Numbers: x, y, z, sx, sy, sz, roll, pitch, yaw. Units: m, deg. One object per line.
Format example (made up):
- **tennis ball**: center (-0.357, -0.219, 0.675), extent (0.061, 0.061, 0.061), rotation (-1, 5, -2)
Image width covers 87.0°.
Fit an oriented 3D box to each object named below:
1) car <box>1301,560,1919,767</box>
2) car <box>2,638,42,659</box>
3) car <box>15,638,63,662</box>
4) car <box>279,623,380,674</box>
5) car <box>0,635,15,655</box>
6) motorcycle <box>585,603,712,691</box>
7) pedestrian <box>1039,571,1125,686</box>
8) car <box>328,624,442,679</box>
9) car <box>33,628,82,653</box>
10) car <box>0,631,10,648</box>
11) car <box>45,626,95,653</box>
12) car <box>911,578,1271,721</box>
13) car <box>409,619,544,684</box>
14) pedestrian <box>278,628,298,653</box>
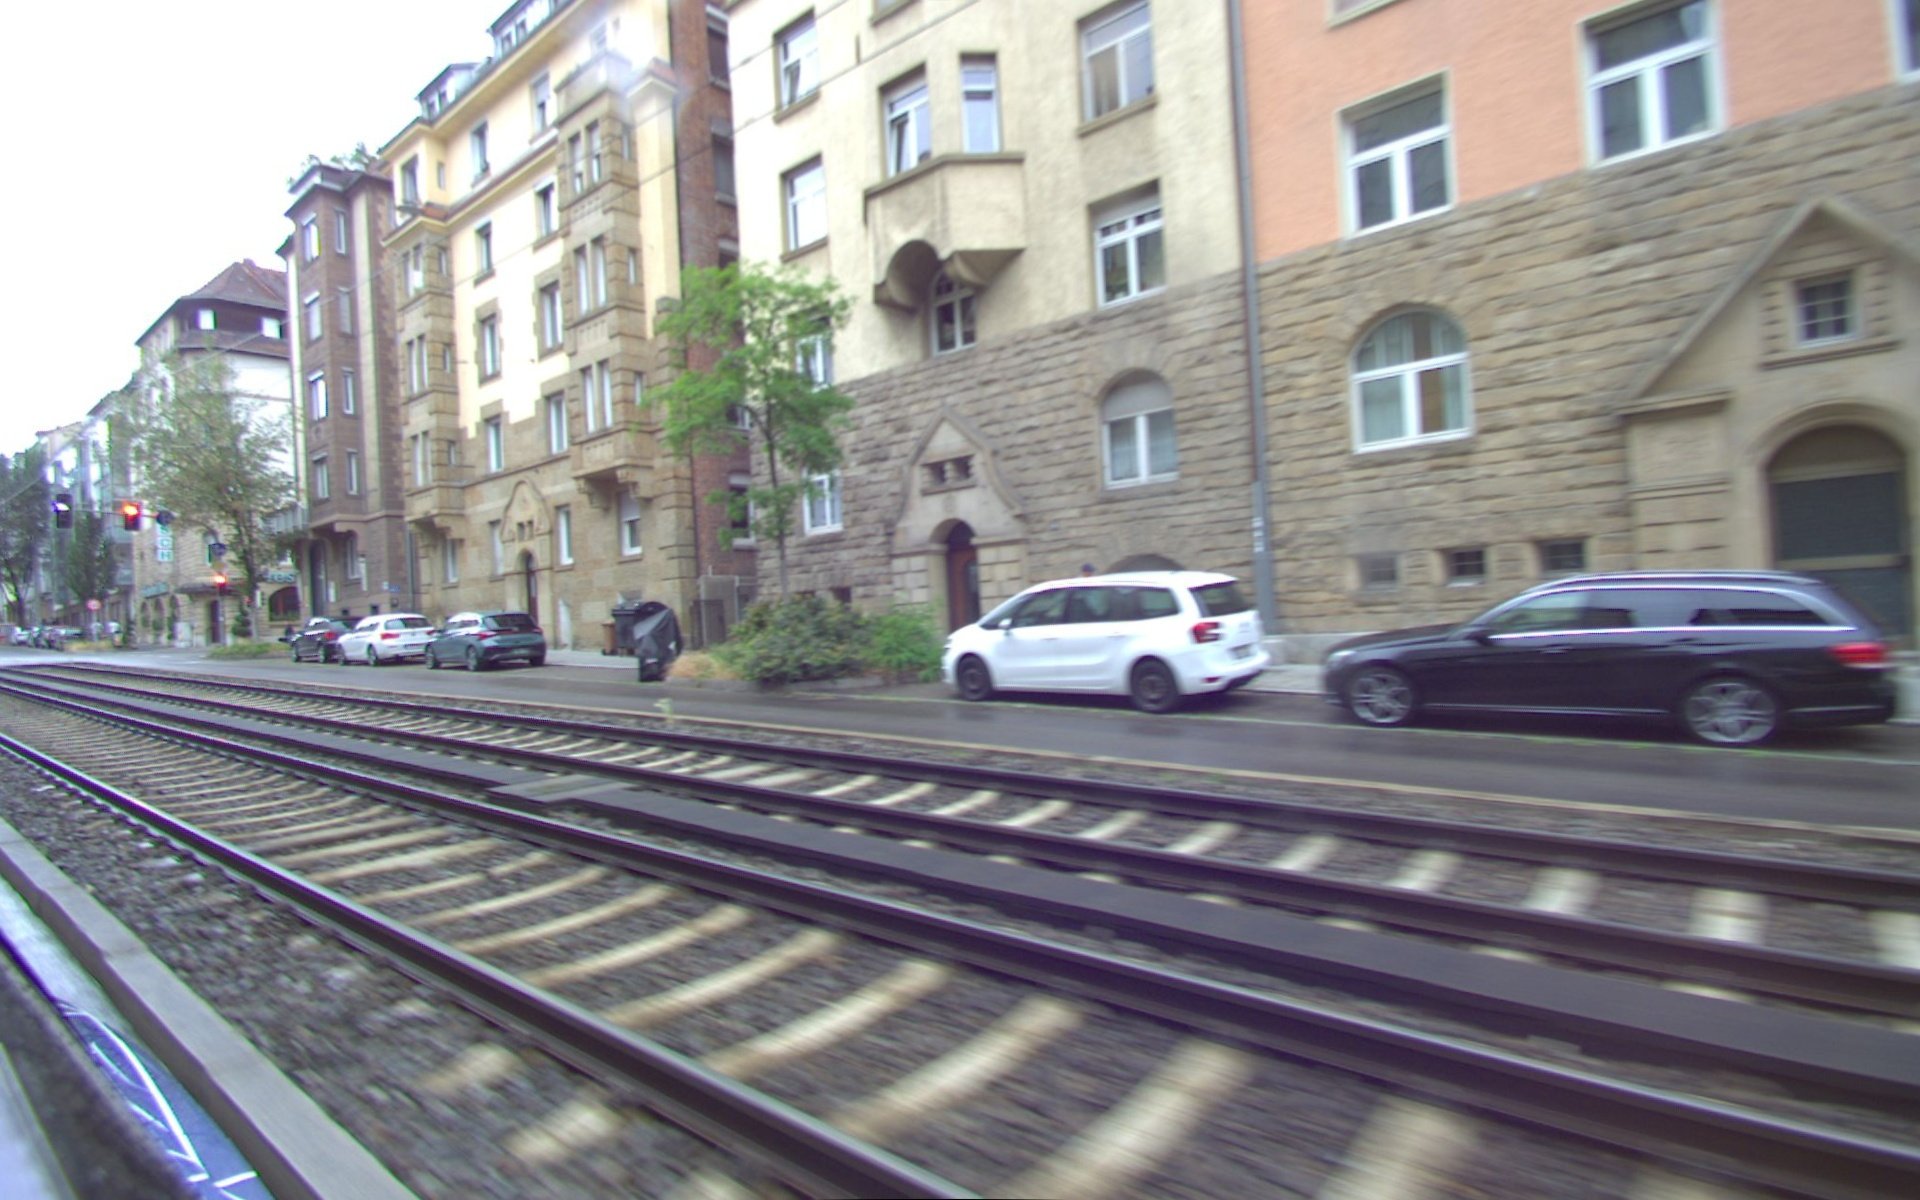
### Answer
- **car**: center (6.171, 0.520, 9.891), extent (4.971, 1.520, 1.973), rotation (-2, 1, 41)
- **car**: center (-69.622, 3.590, 75.073), extent (4.128, 1.345, 1.685), rotation (-1, 2, 41)
- **car**: center (-62.944, 3.385, 69.130), extent (4.427, 1.465, 1.783), rotation (-2, 1, 40)
- **car**: center (-20.715, 1.540, 33.186), extent (3.998, 1.497, 1.746), rotation (-1, 0, 41)
- **car**: center (-78.414, 3.645, 82.311), extent (4.155, 1.581, 1.758), rotation (-1, 0, 40)
- **motorcycle**: center (-6.266, 0.919, 20.500), extent (1.285, 1.655, 2.249), rotation (-2, 0, 23)
- **pedestrian**: center (1.984, 0.445, 16.393), extent (0.924, 1.766, 0.997), rotation (-2, 1, 41)
- **car**: center (-16.917, 1.472, 29.679), extent (4.261, 1.436, 1.649), rotation (-2, 0, 42)
- **car**: center (-58.810, 2.649, 65.937), extent (3.522, 1.509, 1.789), rotation (-2, 0, 39)
- **car**: center (-83.634, 3.418, 87.333), extent (4.465, 1.451, 1.887), rotation (-1, 0, 40)
- **car**: center (-55.557, 2.431, 63.172), extent (3.891, 1.564, 1.747), rotation (-2, 0, 40)
- **car**: center (1.654, 0.611, 13.348), extent (4.336, 1.601, 1.771), rotation (-2, 0, 32)
- **car**: center (-12.363, 1.276, 25.781), extent (4.143, 1.448, 1.545), rotation (-2, 1, 41)
- **pedestrian**: center (-39.075, 2.358, 58.834), extent (0.721, 1.426, 0.808), rotation (-2, -1, 44)
